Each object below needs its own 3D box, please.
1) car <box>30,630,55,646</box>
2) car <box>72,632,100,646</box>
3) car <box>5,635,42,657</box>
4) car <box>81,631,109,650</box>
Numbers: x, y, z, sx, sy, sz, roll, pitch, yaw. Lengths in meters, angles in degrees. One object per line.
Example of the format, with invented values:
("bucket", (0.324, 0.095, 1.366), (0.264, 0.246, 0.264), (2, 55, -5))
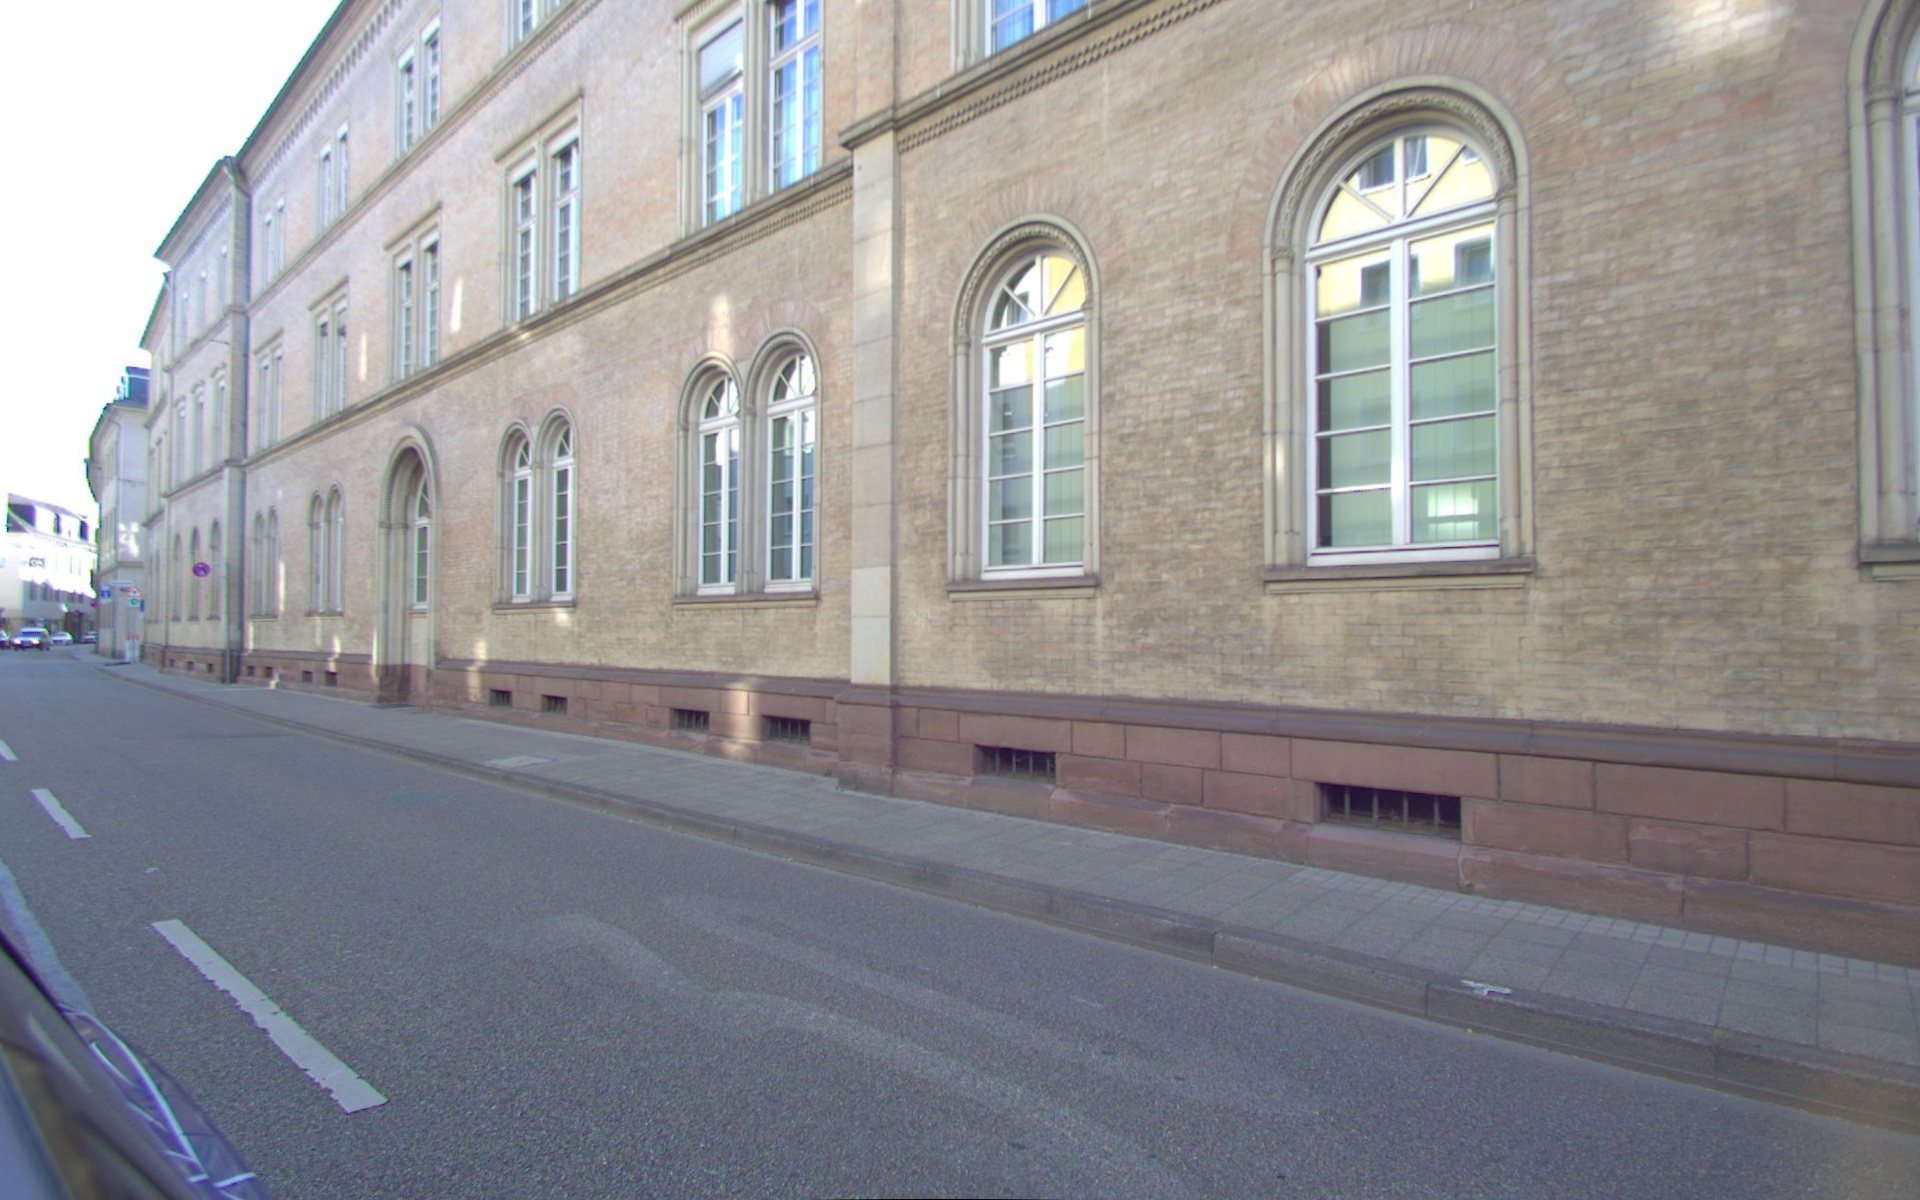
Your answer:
("car", (-102.424, 4.224, 112.985), (1.511, 1.737, 3.749), (1, -2, -34))
("car", (-109.306, 4.900, 126.604), (1.896, 1.737, 4.242), (1, -2, -31))
("car", (-76.266, 3.713, 82.501), (1.894, 1.735, 4.969), (1, -2, -39))
("car", (-80.266, 3.778, 93.949), (1.638, 1.737, 3.748), (1, -2, -36))
